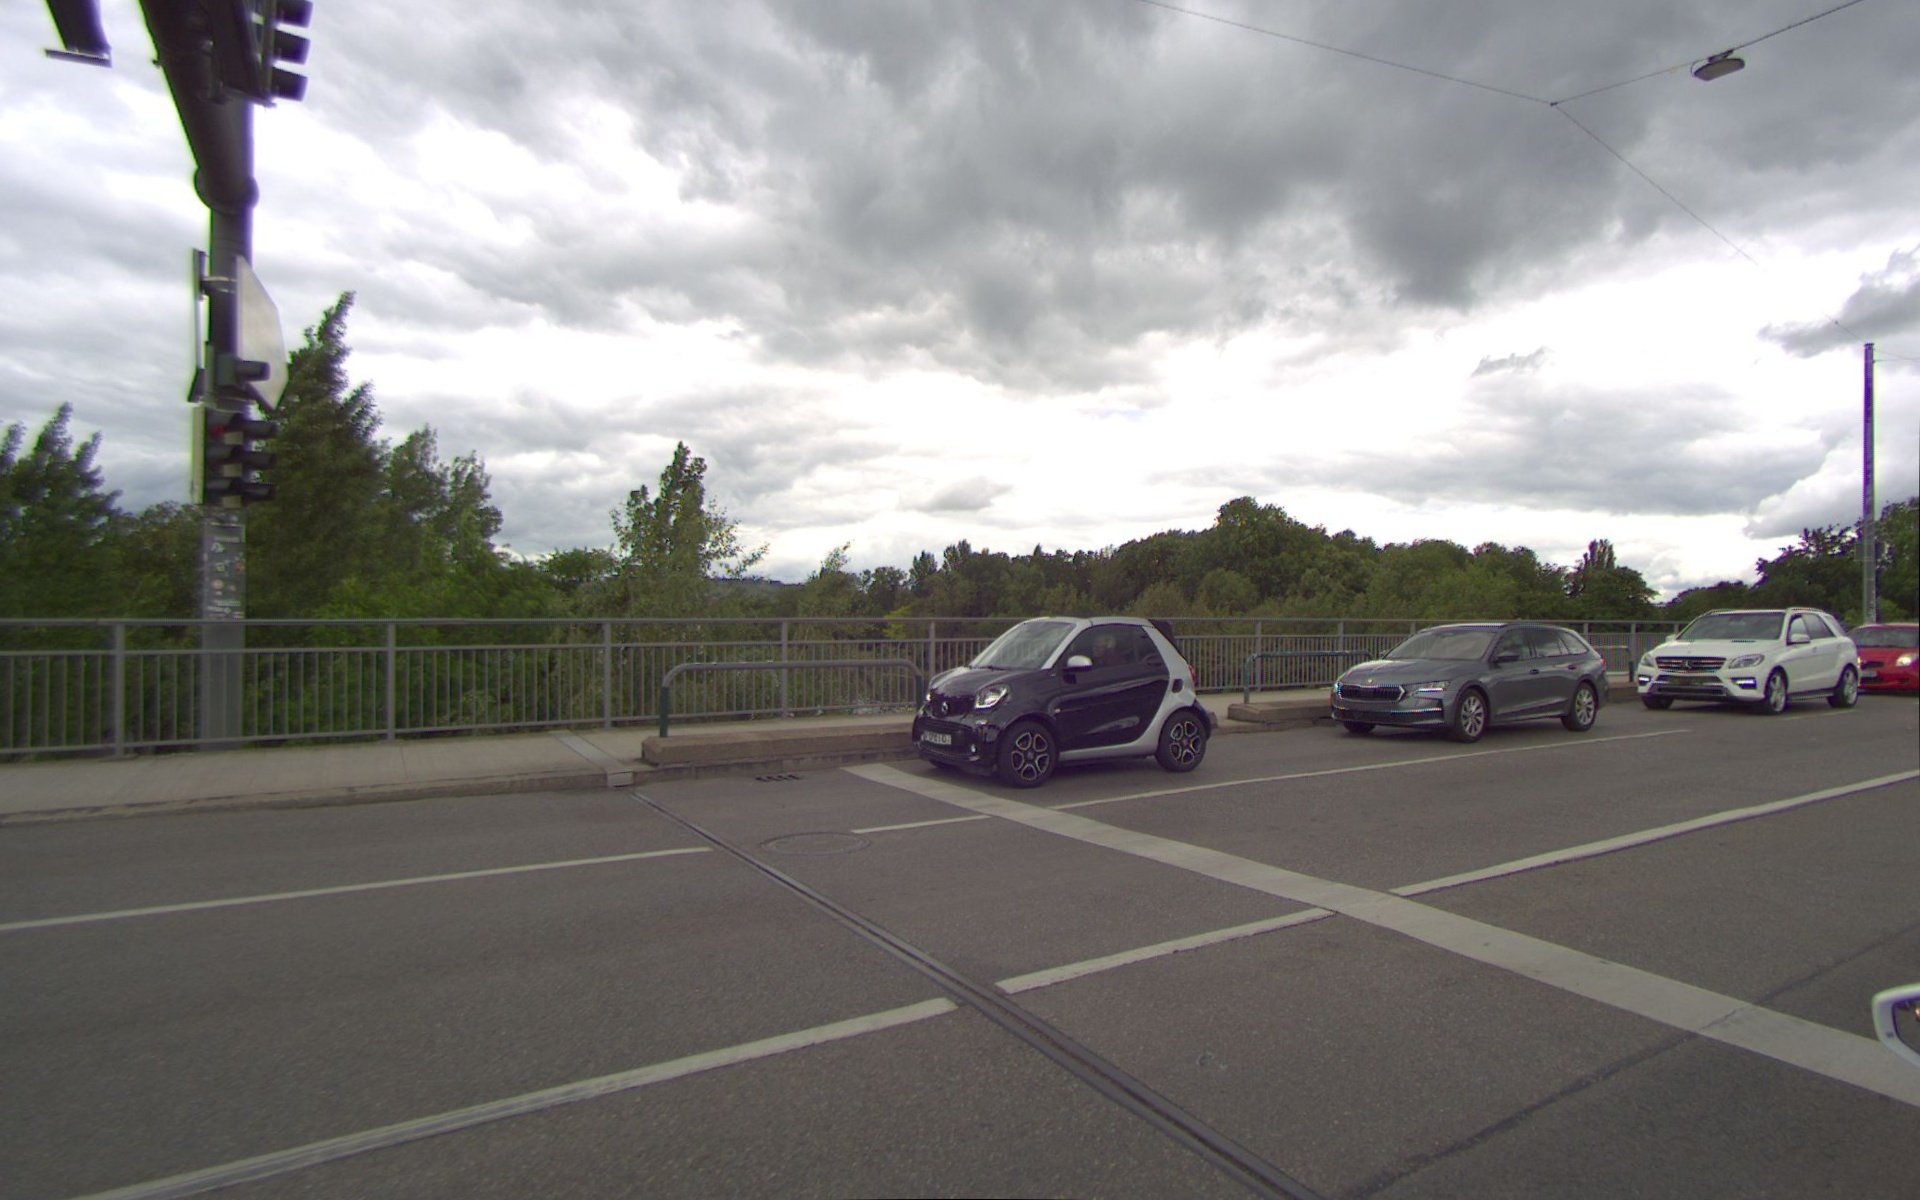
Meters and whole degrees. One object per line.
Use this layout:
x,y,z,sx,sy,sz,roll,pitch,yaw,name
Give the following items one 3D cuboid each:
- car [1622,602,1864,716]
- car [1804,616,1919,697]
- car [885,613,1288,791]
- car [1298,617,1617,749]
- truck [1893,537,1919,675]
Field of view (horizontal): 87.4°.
13.915,0.983,17.781,4.749,1.784,1.870,1,-2,-32,car
20.411,1.182,21.965,3.970,1.624,1.870,1,-2,-32,car
1.333,0.928,10.362,3.825,1.524,1.827,1,-2,-30,car
6.805,1.025,13.615,4.466,1.524,1.826,1,-2,-32,car
29.854,0.229,28.116,9.871,3.613,2.990,1,-2,-32,truck
